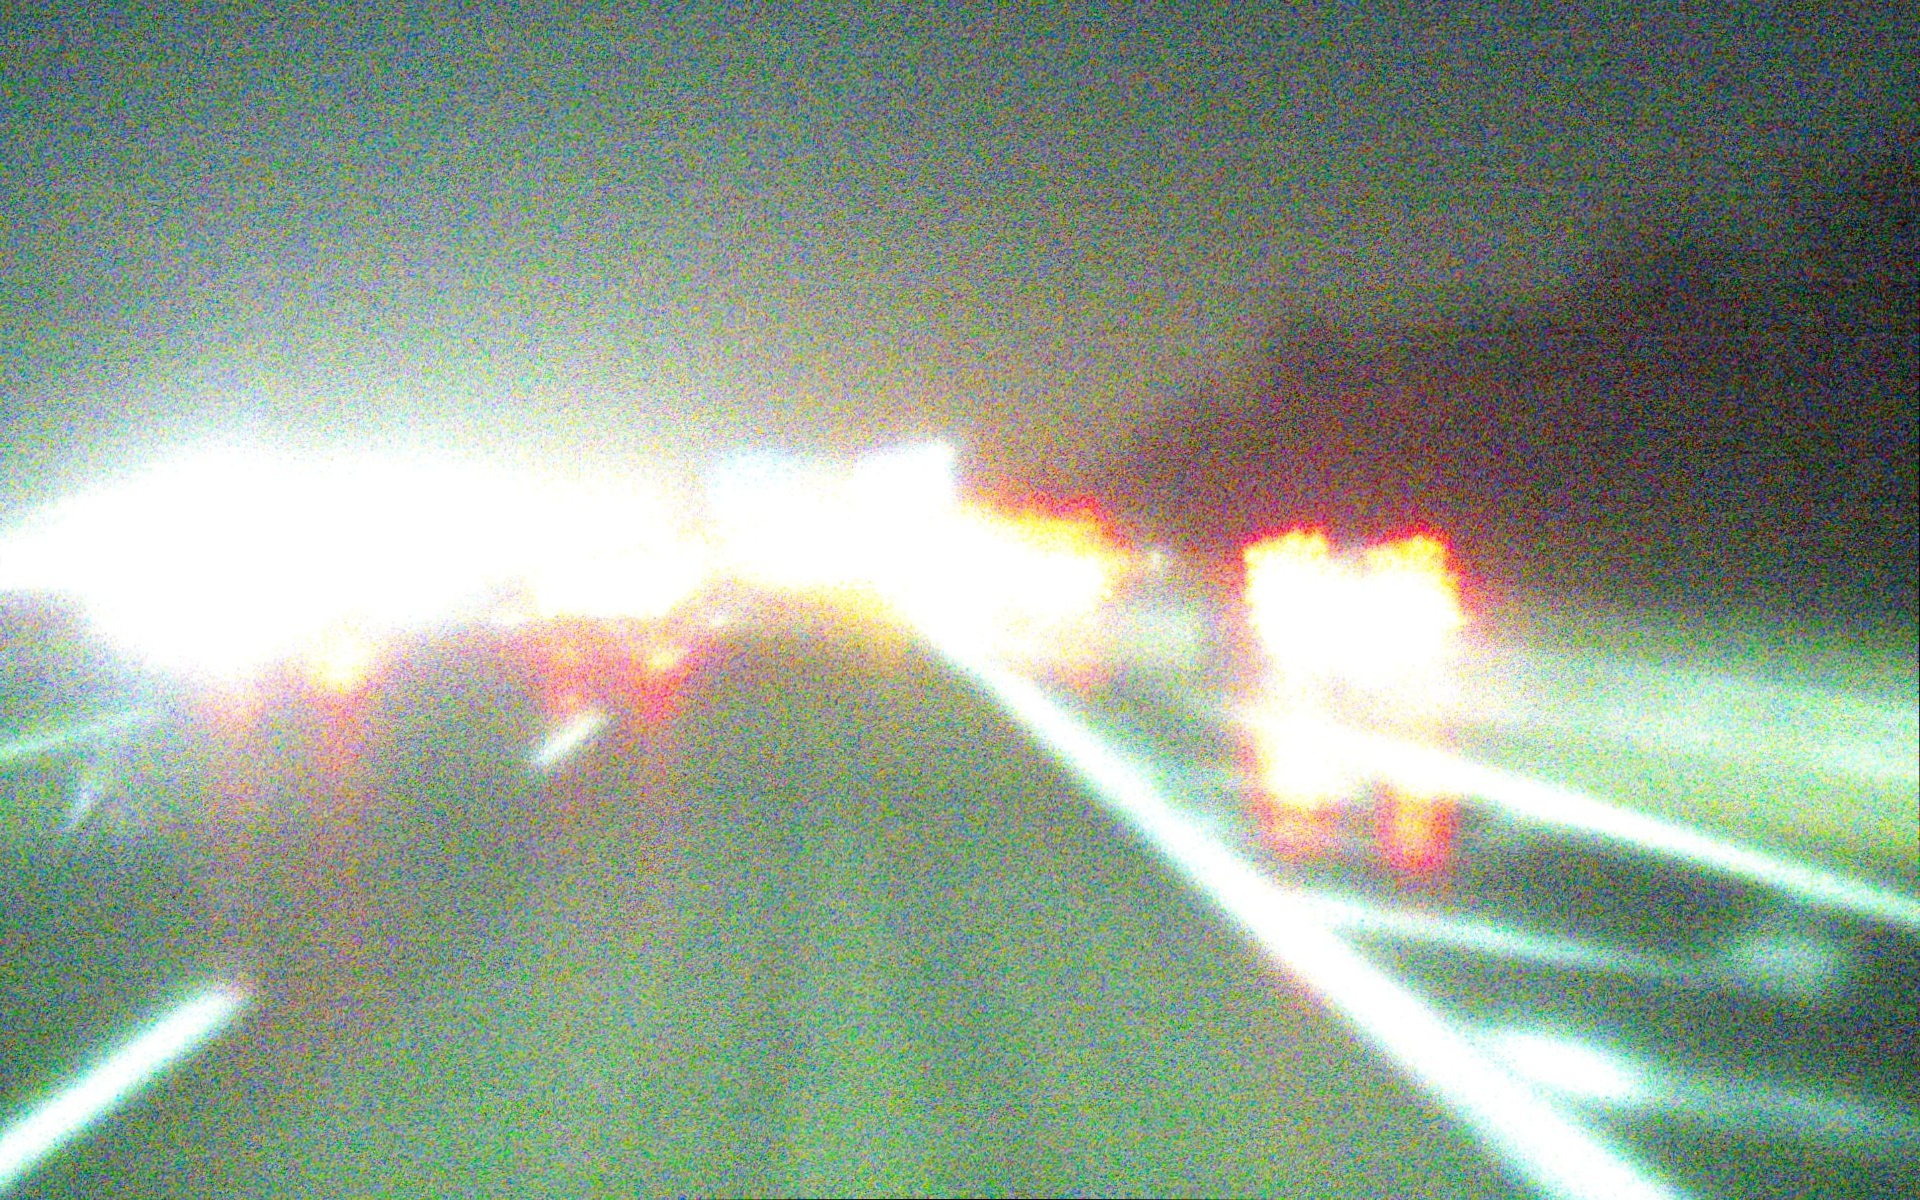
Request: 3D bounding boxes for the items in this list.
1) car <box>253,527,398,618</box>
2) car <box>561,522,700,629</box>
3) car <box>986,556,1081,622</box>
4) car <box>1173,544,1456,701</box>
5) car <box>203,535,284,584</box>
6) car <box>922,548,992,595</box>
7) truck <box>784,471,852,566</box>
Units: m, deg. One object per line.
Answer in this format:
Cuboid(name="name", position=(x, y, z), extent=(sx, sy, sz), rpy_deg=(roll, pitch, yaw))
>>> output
Cuboid(name="car", position=(-9.507, -0.393, 51.744), extent=(1.662, 1.232, 3.762), rpy_deg=(-3, 0, -4))
Cuboid(name="car", position=(-4.903, -0.388, 51.574), extent=(1.801, 1.482, 4.001), rpy_deg=(2, 1, -2))
Cuboid(name="car", position=(1.528, -0.241, 72.329), extent=(1.580, 1.241, 3.069), rpy_deg=(2, 2, -6))
Cuboid(name="car", position=(3.760, 0.191, 37.395), extent=(2.057, 1.514, 5.017), rpy_deg=(2, 1, -6))
Cuboid(name="car", position=(-21.168, -1.181, 101.705), extent=(1.614, 1.295, 3.702), rpy_deg=(-3, 0, -1))
Cuboid(name="car", position=(-0.100, -0.759, 92.545), extent=(1.580, 1.242, 3.069), rpy_deg=(0, 0, -6))
Cuboid(name="truck", position=(-4.890, -2.775, 119.375), extent=(1.993, 3.032, 6.465), rpy_deg=(-3, 0, -1))
